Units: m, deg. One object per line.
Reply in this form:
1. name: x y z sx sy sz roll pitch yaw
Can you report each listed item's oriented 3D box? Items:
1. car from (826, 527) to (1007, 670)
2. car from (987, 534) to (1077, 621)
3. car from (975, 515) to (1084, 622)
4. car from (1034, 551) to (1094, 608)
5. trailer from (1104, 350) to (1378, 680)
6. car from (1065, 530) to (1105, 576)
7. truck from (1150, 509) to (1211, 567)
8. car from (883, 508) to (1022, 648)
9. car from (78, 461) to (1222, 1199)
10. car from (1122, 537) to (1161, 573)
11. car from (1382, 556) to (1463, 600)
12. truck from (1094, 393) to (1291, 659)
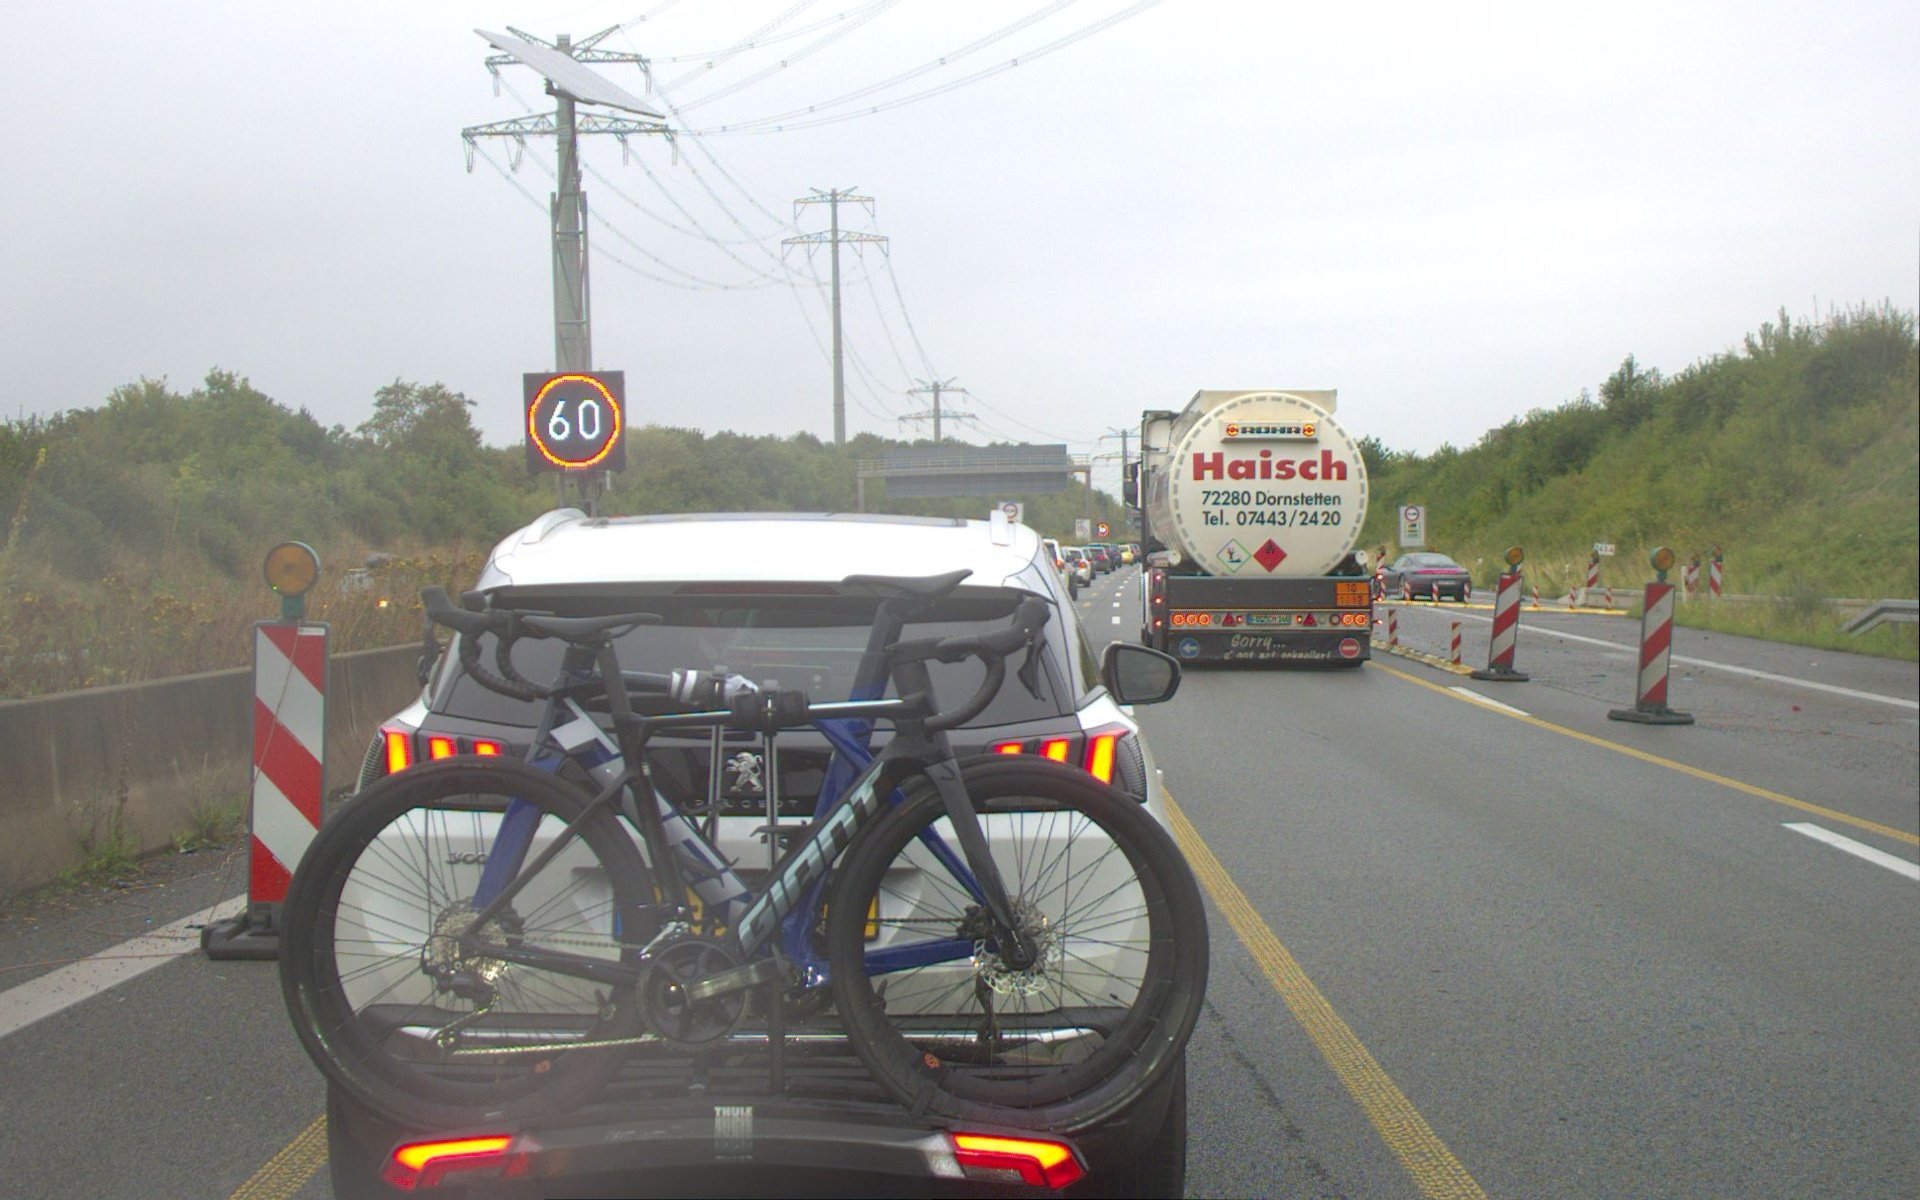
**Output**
1. car: -0.505 -0.057 40.067 1.993 1.578 4.000 0 1 -1
2. car: 1.701 -0.547 82.298 1.993 2.007 4.000 1 0 -1
3. car: 1.353 -0.651 68.398 1.993 2.007 4.000 -1 1 -1
4. car: 3.722 -0.731 123.545 1.993 2.007 4.000 1 0 -1
5. trailer: 3.549 -1.039 46.018 2.637 3.880 10.544 1 0 -1
6. car: 5.542 -2.070 152.127 1.654 2.007 4.000 0 1 3
7. truck: 15.452 -4.306 241.678 3.732 3.809 11.867 1 0 1
8. car: -0.123 -0.360 52.577 1.993 2.007 4.000 -1 1 -1
9. car: -0.461 0.533 8.091 1.928 1.605 4.595 0 1 2
10. car: 10.547 -2.614 199.983 1.993 2.007 4.000 1 0 -1
11. car: 12.689 -0.613 94.498 1.482 1.157 3.907 -1 0 -3
12. truck: 3.492 -1.103 52.558 2.644 3.877 4.030 1 0 -1
